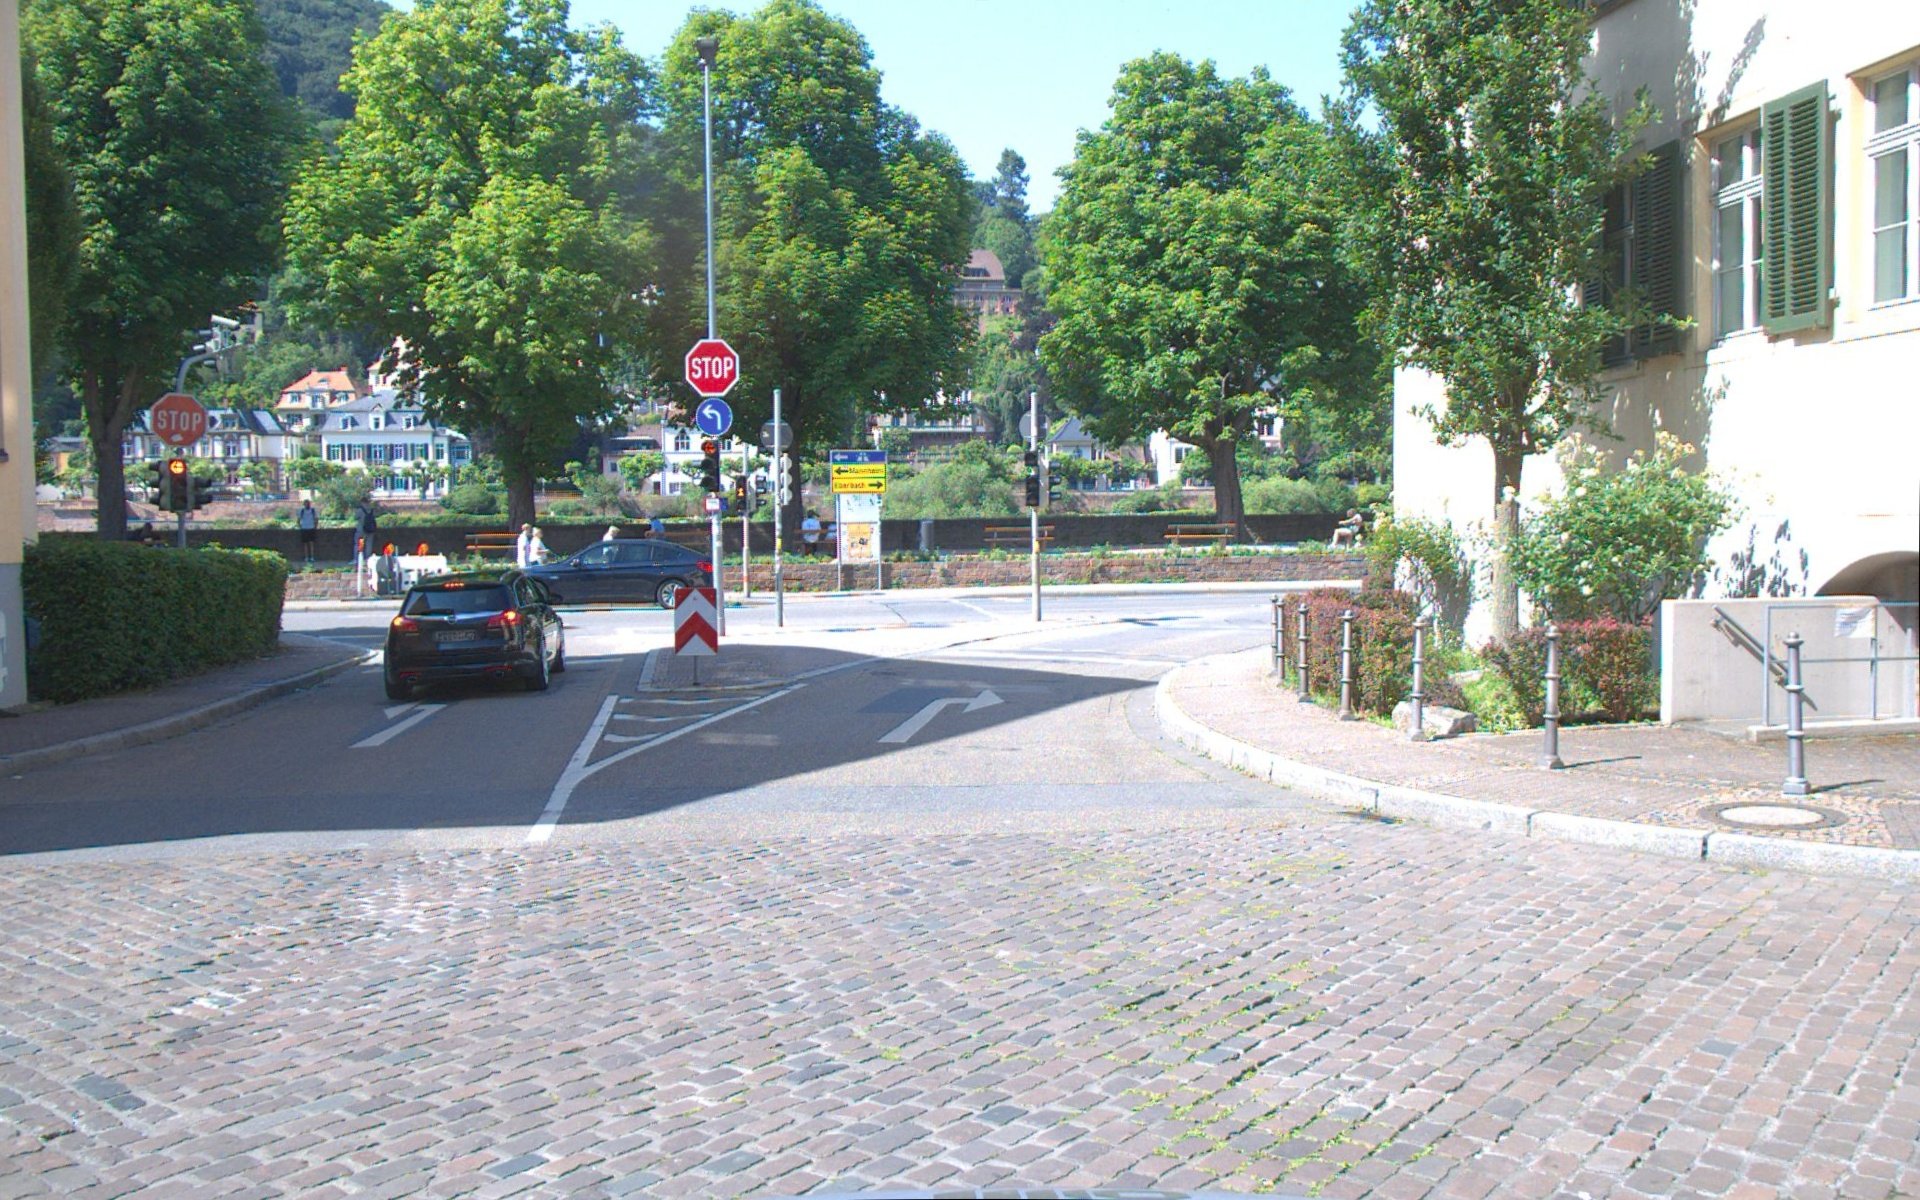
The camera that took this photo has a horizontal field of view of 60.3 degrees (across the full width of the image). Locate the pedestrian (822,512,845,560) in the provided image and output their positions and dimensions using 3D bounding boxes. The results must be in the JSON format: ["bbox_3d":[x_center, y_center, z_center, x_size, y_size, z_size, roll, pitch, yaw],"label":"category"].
[{"bbox_3d":[-3.490,-1.764,45.712,0.542,1.249,0.984,1,-1,-8],"label":"pedestrian"}]

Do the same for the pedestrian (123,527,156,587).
[{"bbox_3d":[-21.076,-1.120,42.493,0.458,1.519,0.804,-1,2,-5],"label":"pedestrian"}]

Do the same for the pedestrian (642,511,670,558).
[{"bbox_3d":[-8.197,-1.771,44.598,0.632,1.249,0.412,-2,1,-20],"label":"pedestrian"}]

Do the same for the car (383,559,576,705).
[{"bbox_3d":[-5.925,0.297,20.888,1.683,1.487,4.715,-3,3,-9],"label":"car"}]

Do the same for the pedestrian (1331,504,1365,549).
[{"bbox_3d":[11.268,-2.132,48.046,0.782,1.232,0.714,1,-1,-6],"label":"pedestrian"}]

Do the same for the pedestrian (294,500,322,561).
[{"bbox_3d":[-18.963,-2.019,48.146,0.697,1.762,0.753,-1,1,-19],"label":"pedestrian"}]

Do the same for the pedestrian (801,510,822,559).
[{"bbox_3d":[-4.090,-1.792,45.449,0.542,1.301,0.703,1,-1,-5],"label":"pedestrian"}]

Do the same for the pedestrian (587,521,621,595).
[{"bbox_3d":[-8.845,-1.046,41.126,0.674,1.800,0.717,-2,1,-4],"label":"pedestrian"}]

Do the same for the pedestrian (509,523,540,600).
[{"bbox_3d":[-10.483,-0.930,39.828,0.567,1.833,0.704,-2,1,-6],"label":"pedestrian"}]

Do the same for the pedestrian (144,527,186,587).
[{"bbox_3d":[-20.567,-1.118,42.801,0.458,1.505,1.384,-1,2,-4],"label":"pedestrian"}]

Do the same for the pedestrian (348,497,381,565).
[{"bbox_3d":[-16.572,-1.916,46.030,0.753,1.890,0.750,-1,1,-26],"label":"pedestrian"}]

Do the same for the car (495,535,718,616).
[{"bbox_3d":[-7.851,-0.569,36.966,4.679,1.543,1.901,-3,1,-12],"label":"car"}]

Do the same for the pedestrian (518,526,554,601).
[{"bbox_3d":[-10.539,-0.912,41.164,0.708,1.833,0.633,-2,1,-6],"label":"pedestrian"}]
